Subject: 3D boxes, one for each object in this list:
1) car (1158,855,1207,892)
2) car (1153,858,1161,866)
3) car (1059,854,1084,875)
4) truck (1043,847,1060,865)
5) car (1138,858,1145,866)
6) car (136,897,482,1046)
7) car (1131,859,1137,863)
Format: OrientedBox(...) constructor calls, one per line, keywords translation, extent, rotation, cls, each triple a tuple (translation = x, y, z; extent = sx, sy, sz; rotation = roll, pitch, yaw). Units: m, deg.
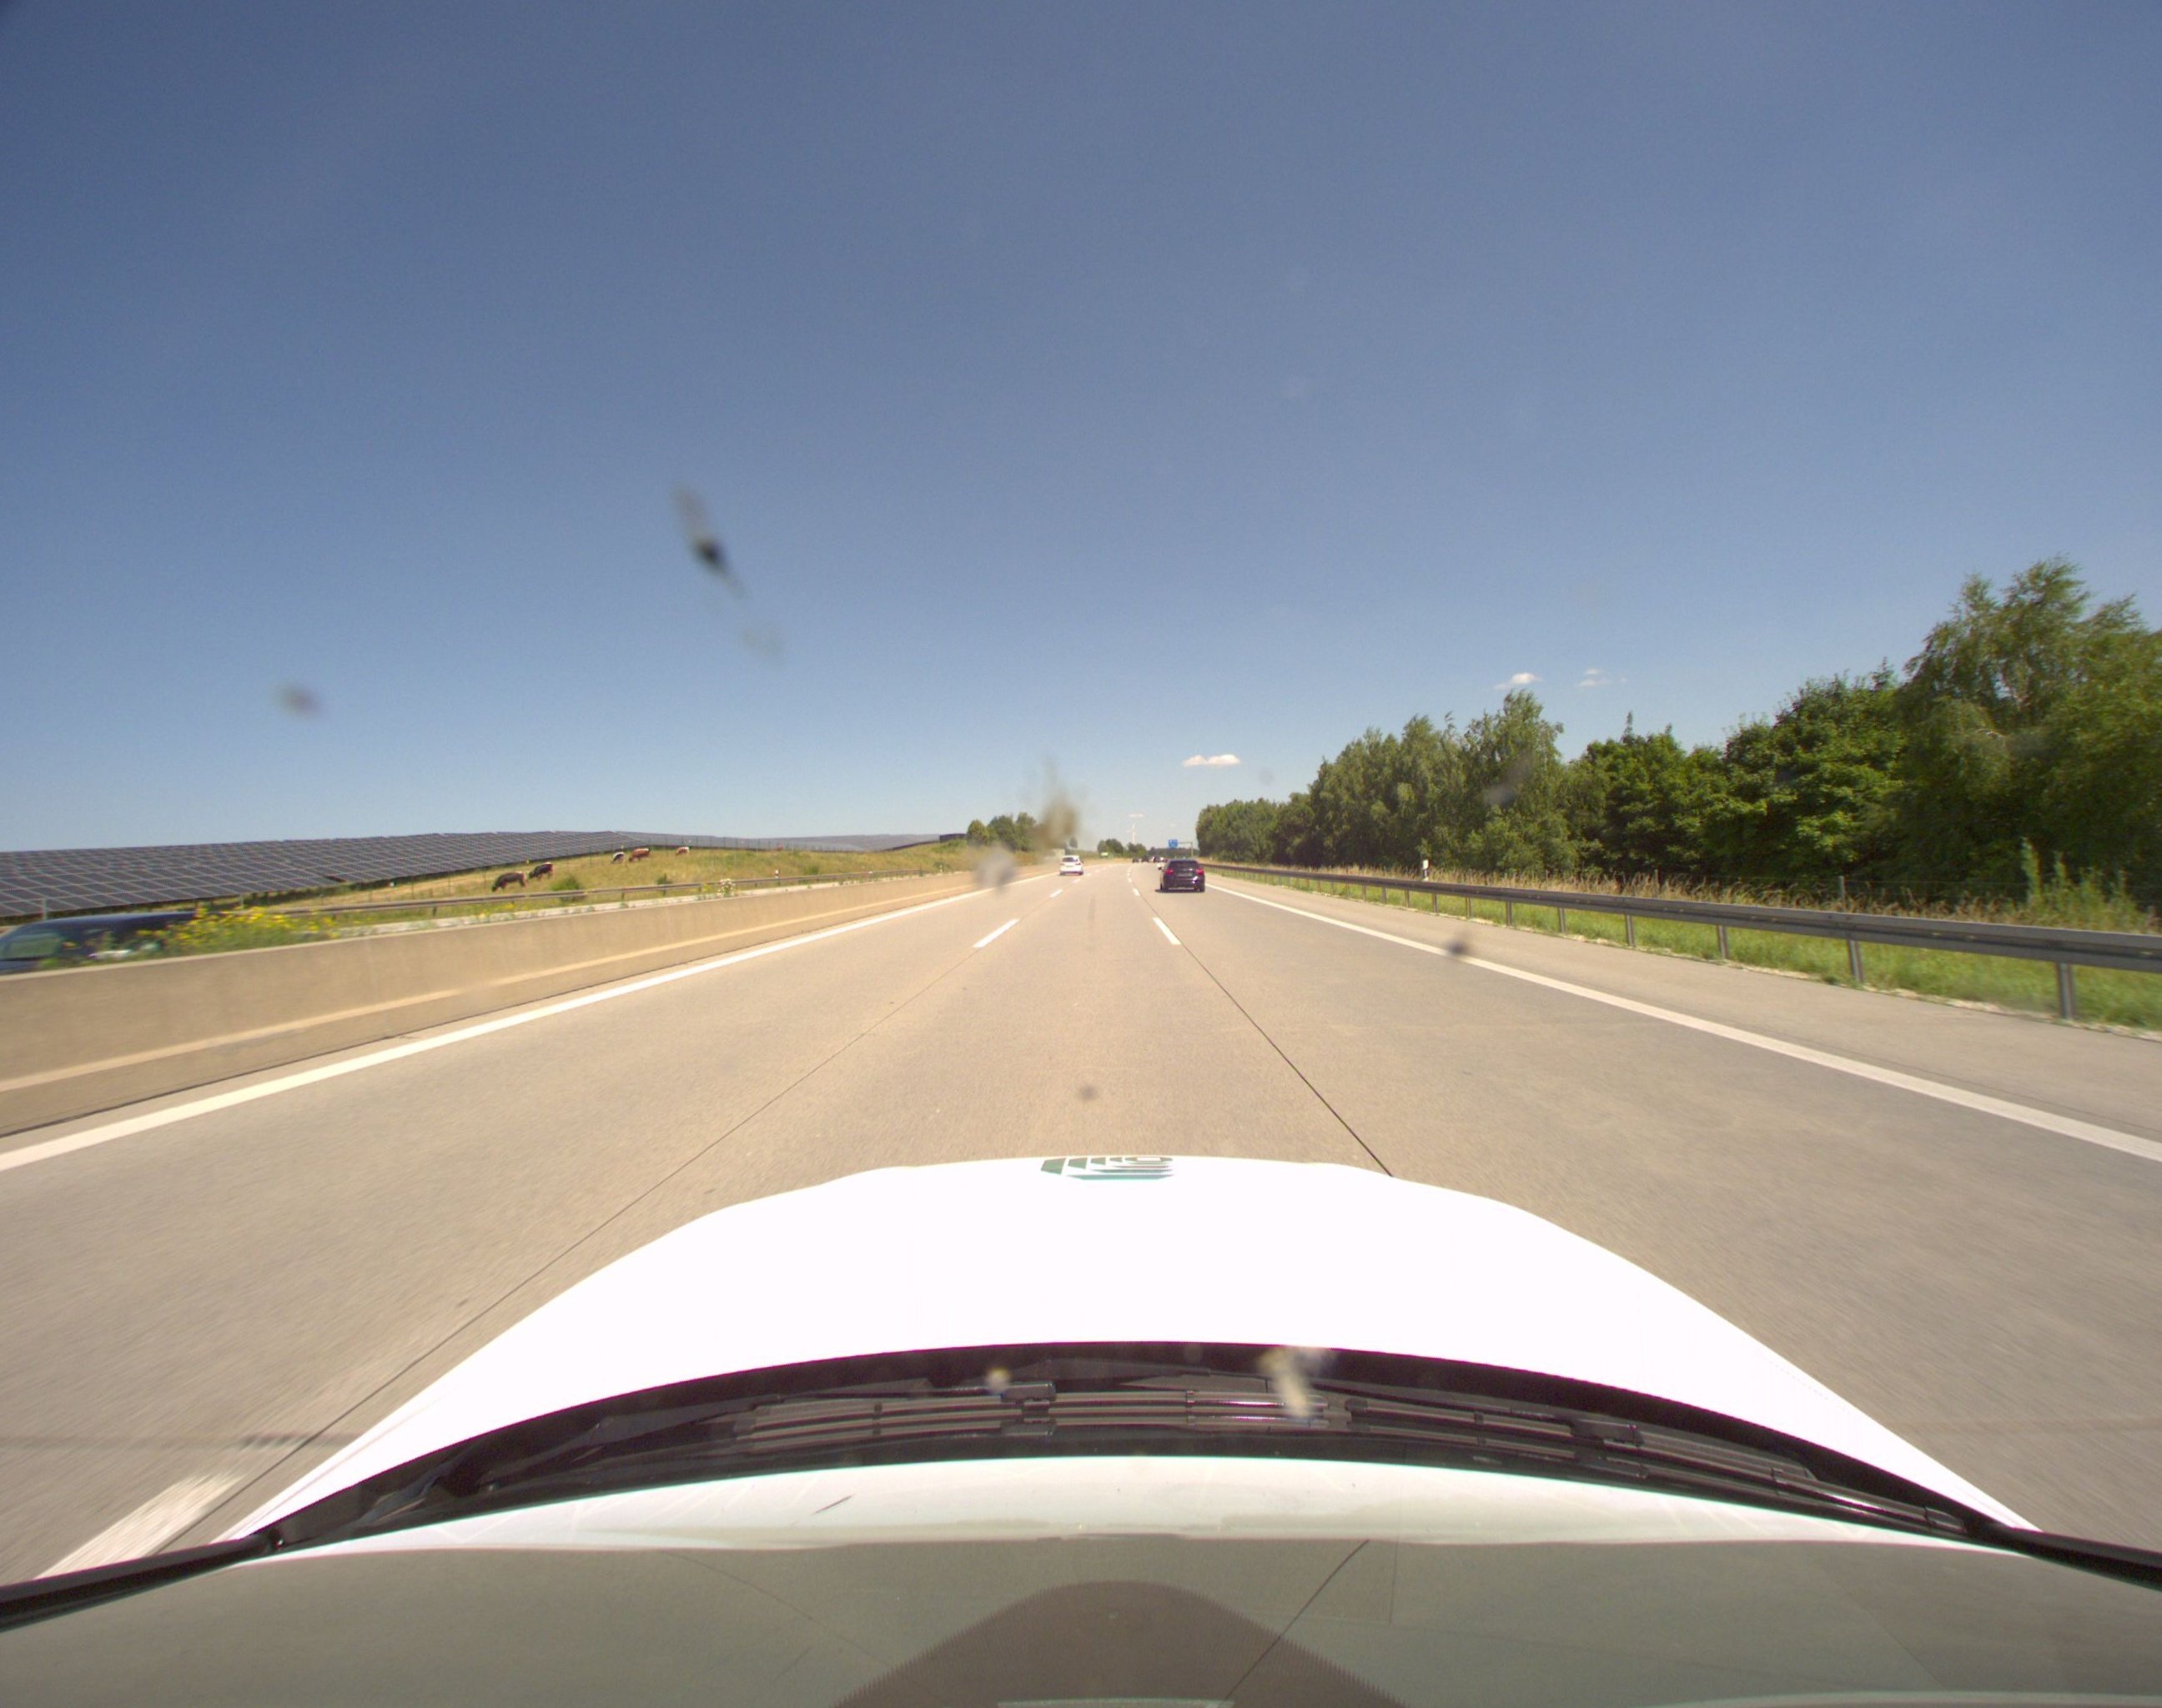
OrientedBox(translation=(4.370, 0.790, 35.704), extent=(1.902, 1.492, 4.196), rotation=(-1, 0, 4), cls="car")
OrientedBox(translation=(18.970, 1.997, 204.022), extent=(1.818, 1.907, 4.006), rotation=(-2, 0, 6), cls="car")
OrientedBox(translation=(-0.785, 0.924, 70.849), extent=(1.838, 1.708, 6.038), rotation=(-1, -1, 2), cls="car")
OrientedBox(translation=(-7.059, 0.547, 195.500), extent=(2.977, 4.060, 6.878), rotation=(-2, 0, 5), cls="truck")
OrientedBox(translation=(16.414, 2.162, 221.249), extent=(1.819, 1.937, 3.813), rotation=(-2, -1, 4), cls="car")
OrientedBox(translation=(-12.100, 1.725, 13.181), extent=(1.841, 1.840, 3.826), rotation=(-1, 0, 2), cls="car")
OrientedBox(translation=(16.033, 2.088, 244.899), extent=(1.649, 1.196, 3.961), rotation=(1, 0, 2), cls="car")
